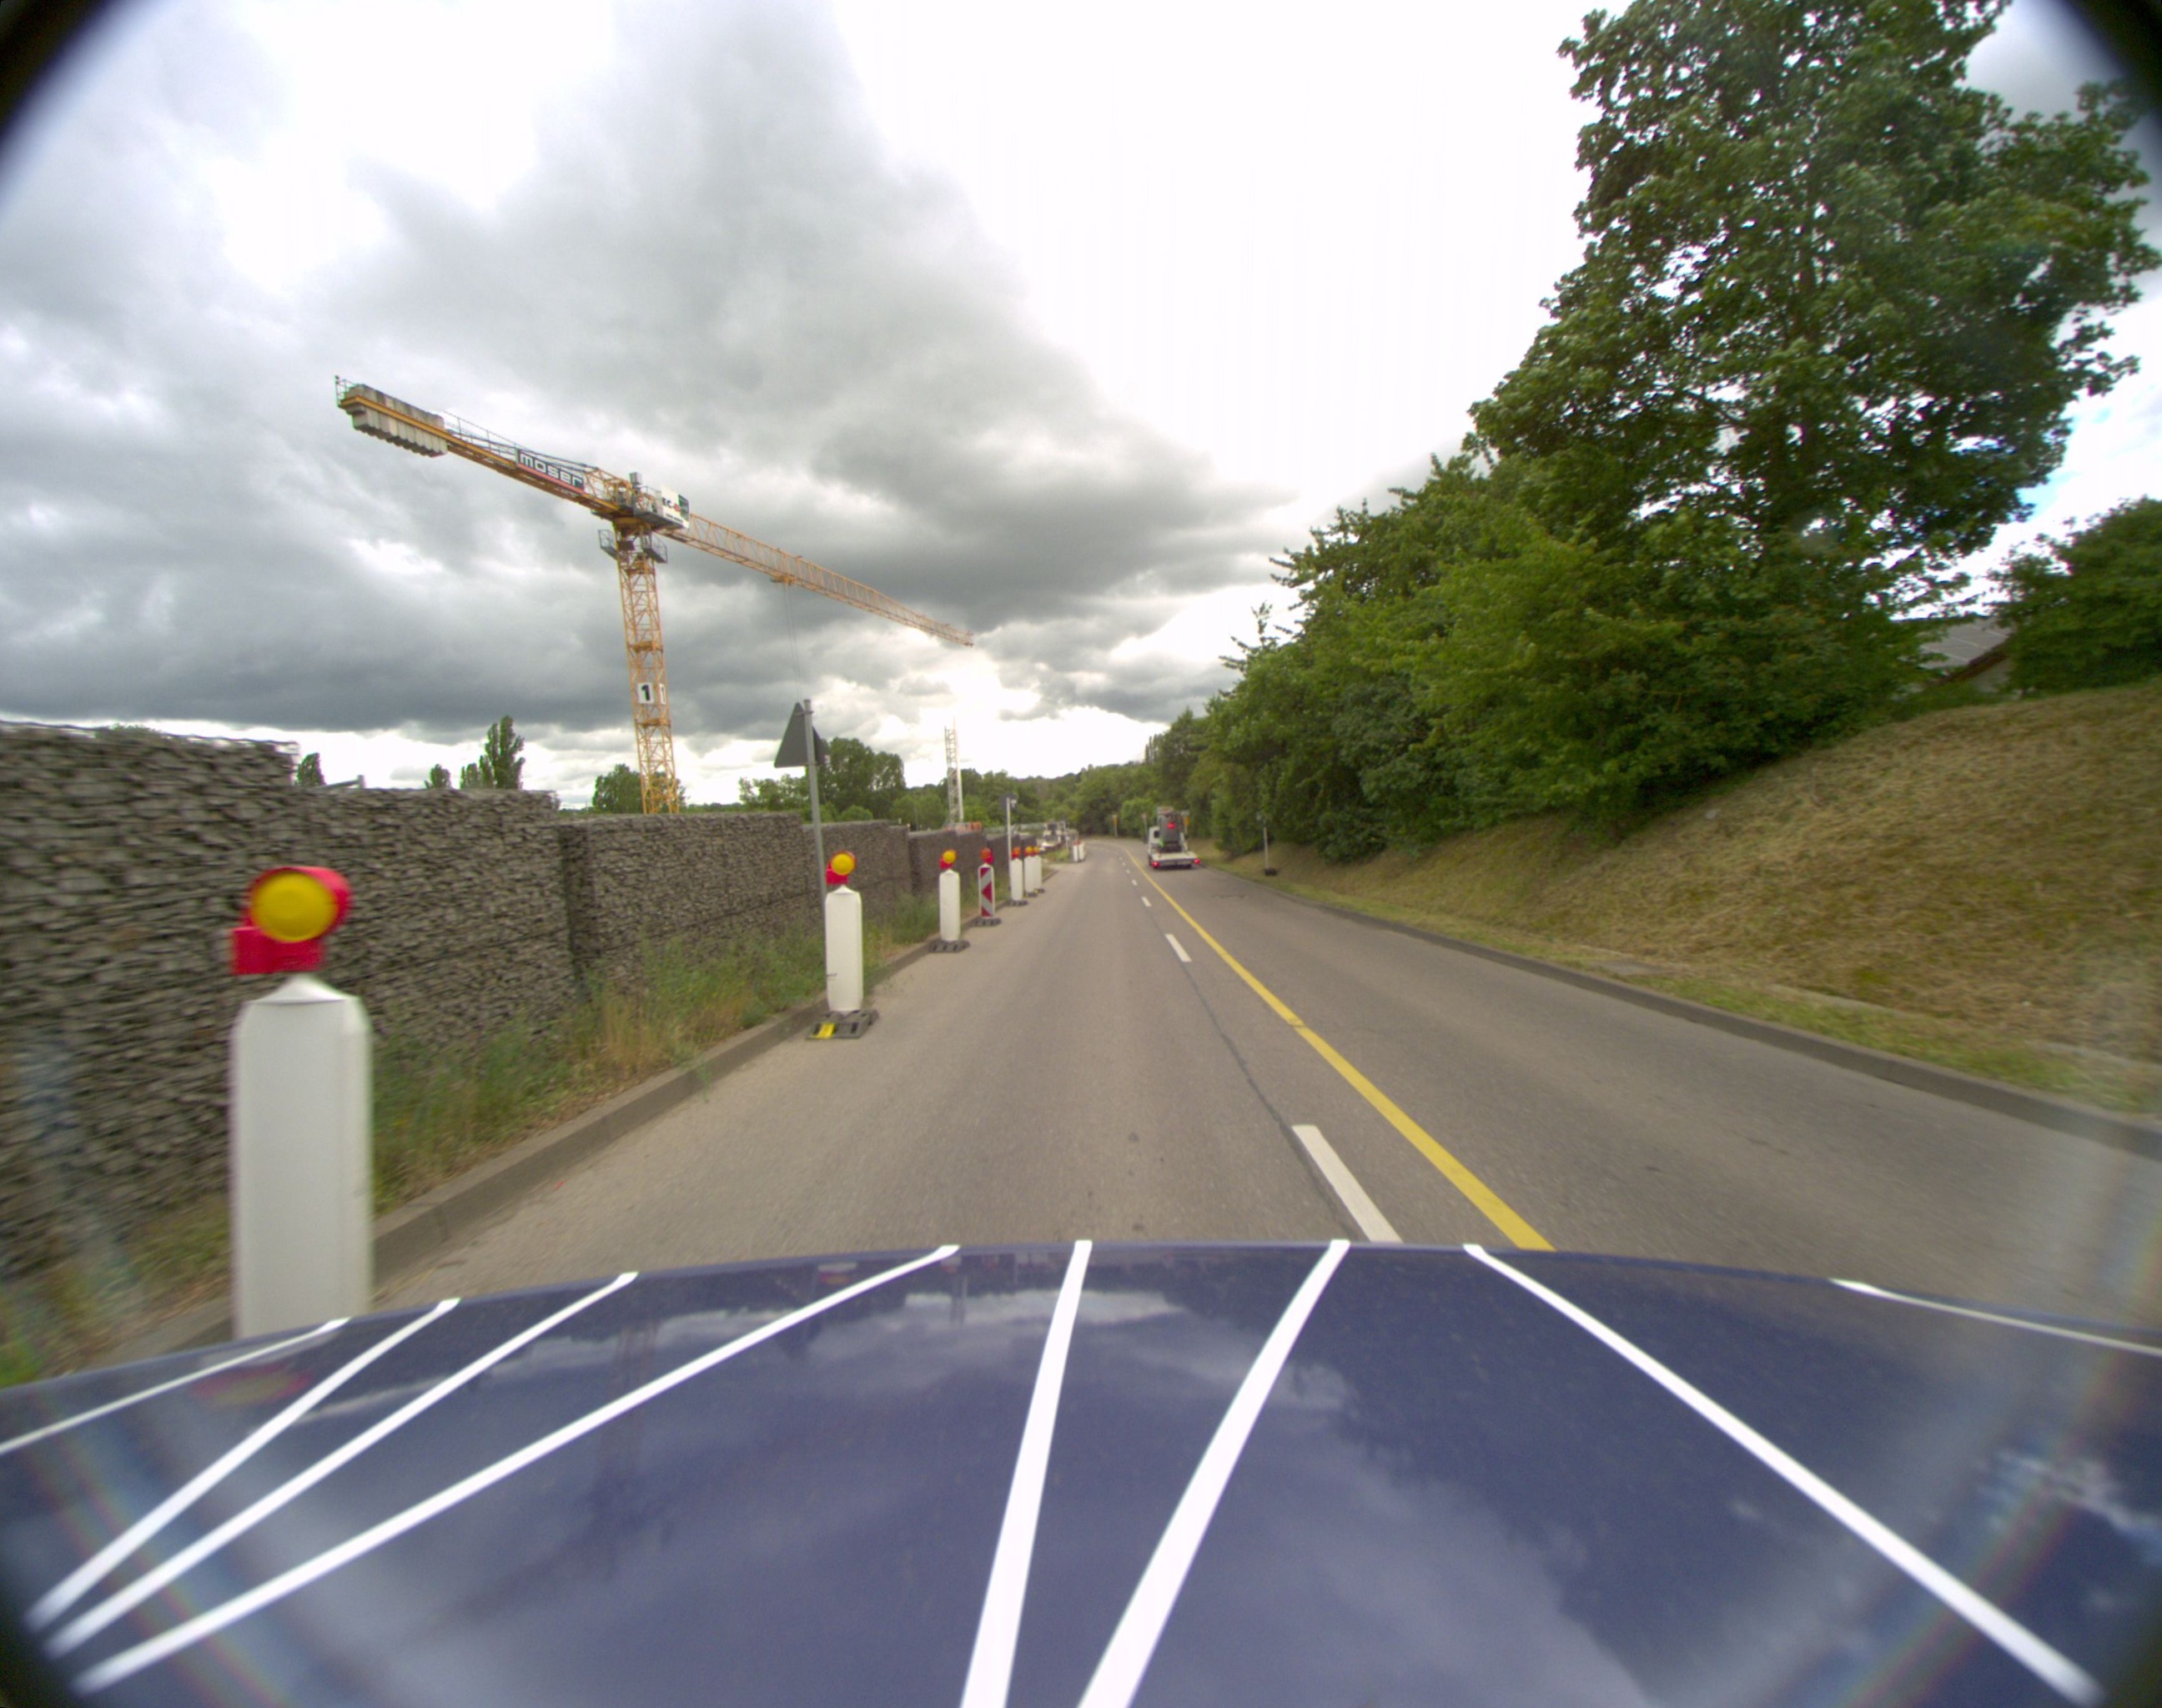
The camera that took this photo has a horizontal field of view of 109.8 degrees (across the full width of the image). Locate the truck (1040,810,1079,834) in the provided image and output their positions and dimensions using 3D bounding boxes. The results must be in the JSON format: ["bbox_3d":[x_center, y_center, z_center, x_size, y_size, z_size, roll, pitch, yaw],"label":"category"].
[{"bbox_3d":[-3.290,-4.772,113.698,2.762,3.241,7.593,-6,4,-24],"label":"truck"}]

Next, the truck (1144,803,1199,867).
[{"bbox_3d":[4.646,-0.973,40.164,2.220,2.997,7.739,-1,1,2],"label":"truck"}]

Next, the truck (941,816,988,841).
[{"bbox_3d":[-21.386,-4.605,138.753,3.046,3.877,9.974,-8,5,-42],"label":"truck"}]
